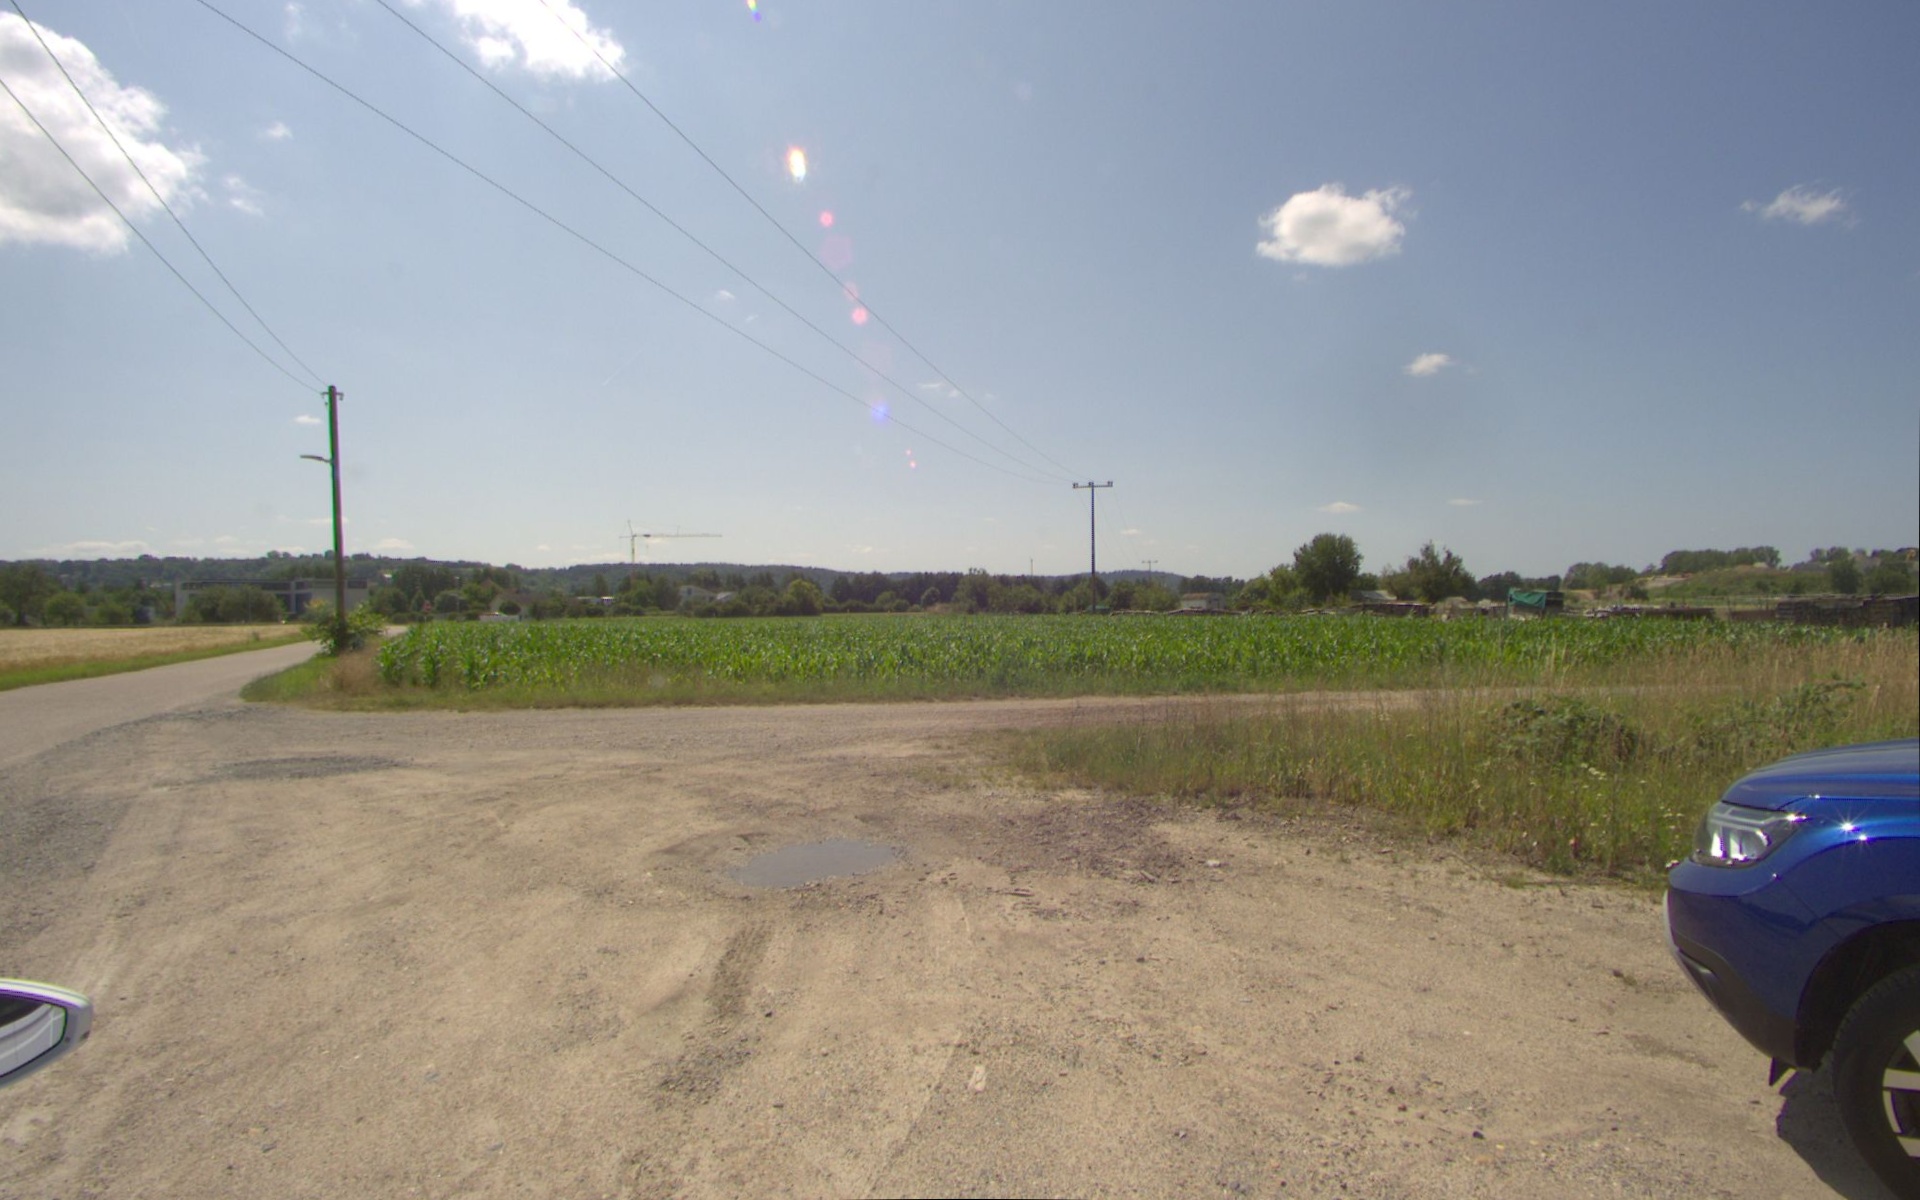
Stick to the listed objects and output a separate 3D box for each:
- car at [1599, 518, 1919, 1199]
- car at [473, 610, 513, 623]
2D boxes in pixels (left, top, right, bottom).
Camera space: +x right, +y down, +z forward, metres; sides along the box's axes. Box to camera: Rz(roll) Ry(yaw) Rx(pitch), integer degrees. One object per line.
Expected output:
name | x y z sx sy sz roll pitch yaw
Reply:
car | 3.942 0.619 1.751 1.843 1.682 4.423 1 -2 -39
car | -57.430 1.977 123.225 4.214 1.522 1.814 -1 0 -14
